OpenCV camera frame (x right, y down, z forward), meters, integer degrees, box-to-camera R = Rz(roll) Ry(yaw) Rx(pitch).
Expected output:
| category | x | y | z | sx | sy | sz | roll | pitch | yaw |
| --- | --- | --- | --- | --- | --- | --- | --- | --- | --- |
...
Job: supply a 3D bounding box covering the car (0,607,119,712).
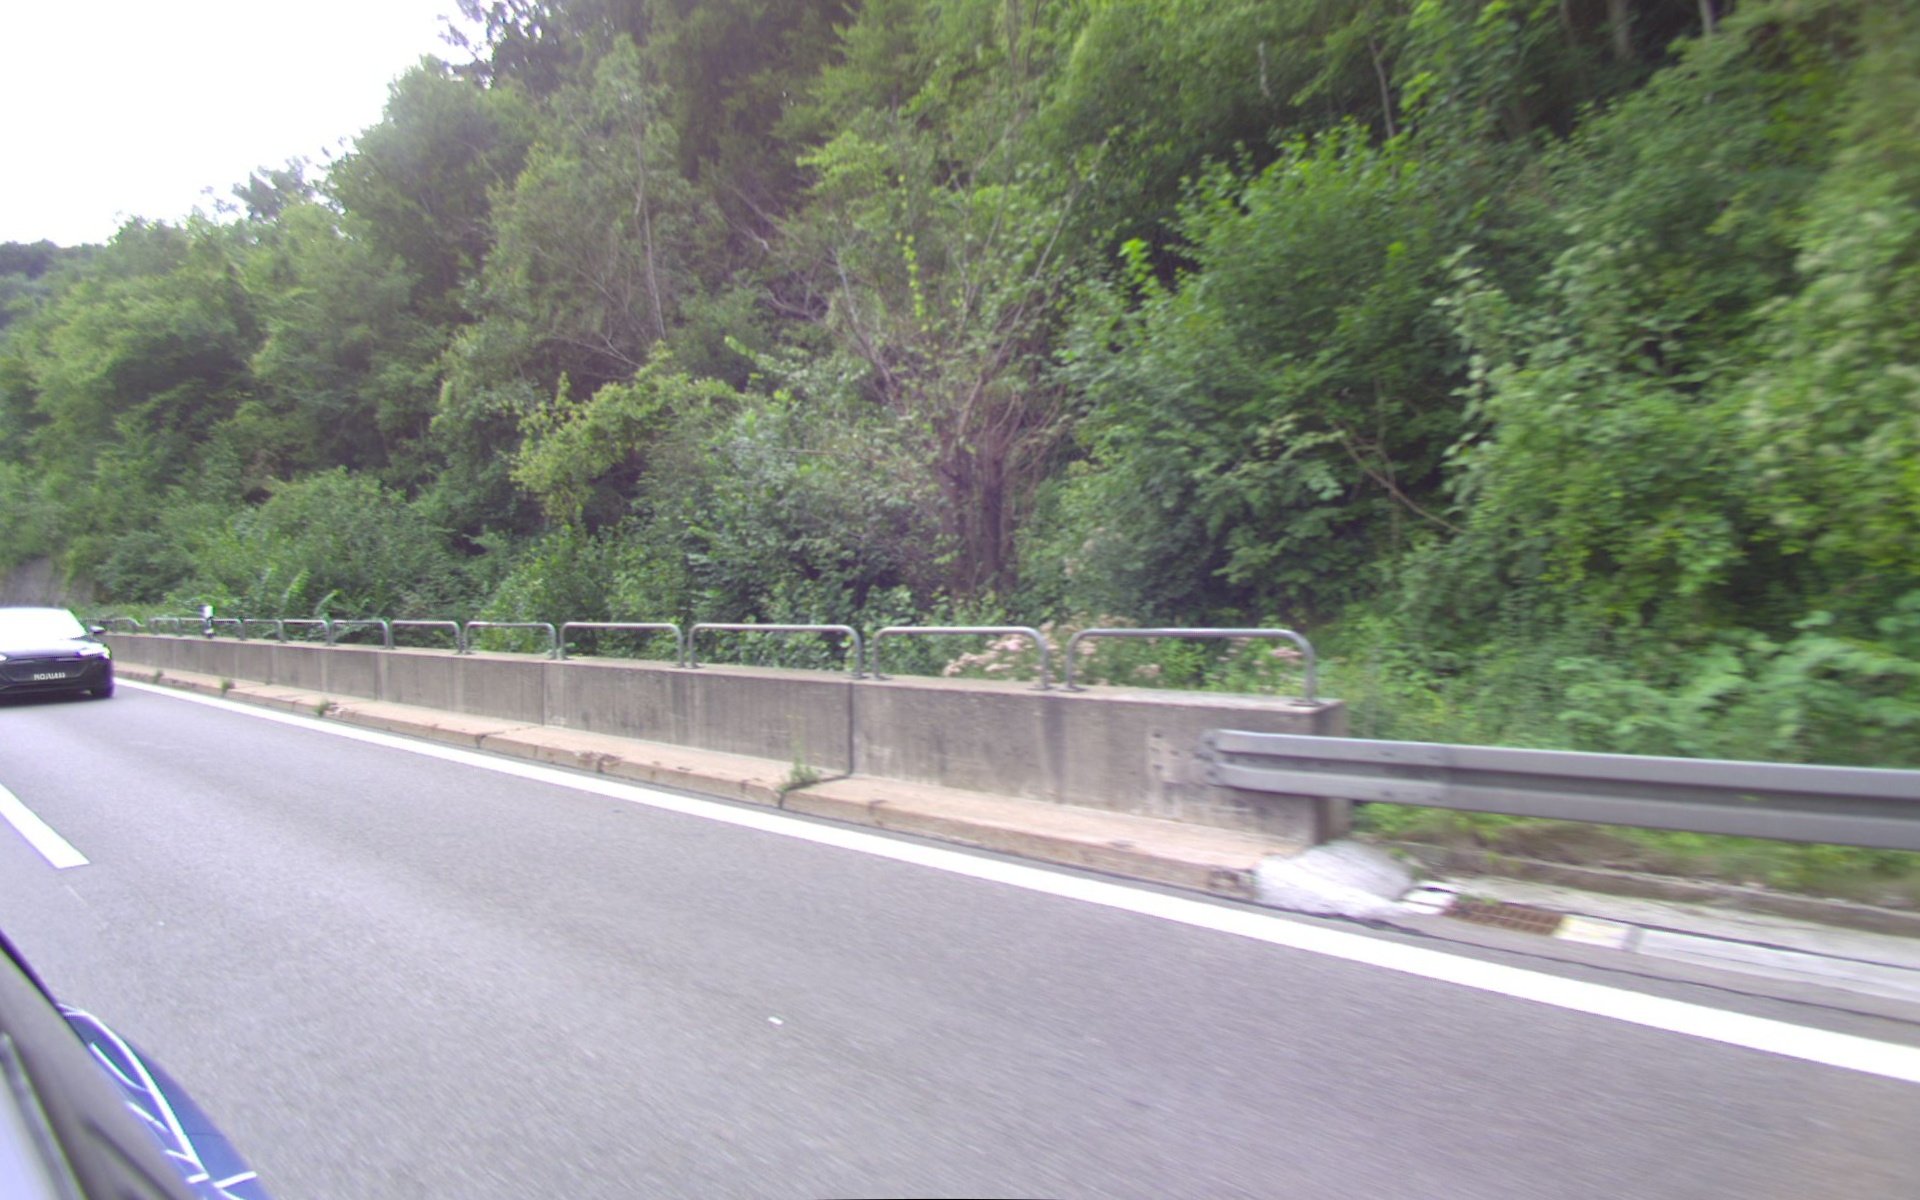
| category | x | y | z | sx | sy | sz | roll | pitch | yaw |
| --- | --- | --- | --- | --- | --- | --- | --- | --- | --- |
| car | -16.802 | 0.988 | 18.065 | 5.006 | 1.644 | 1.973 | -1 | 0 | 41 |
